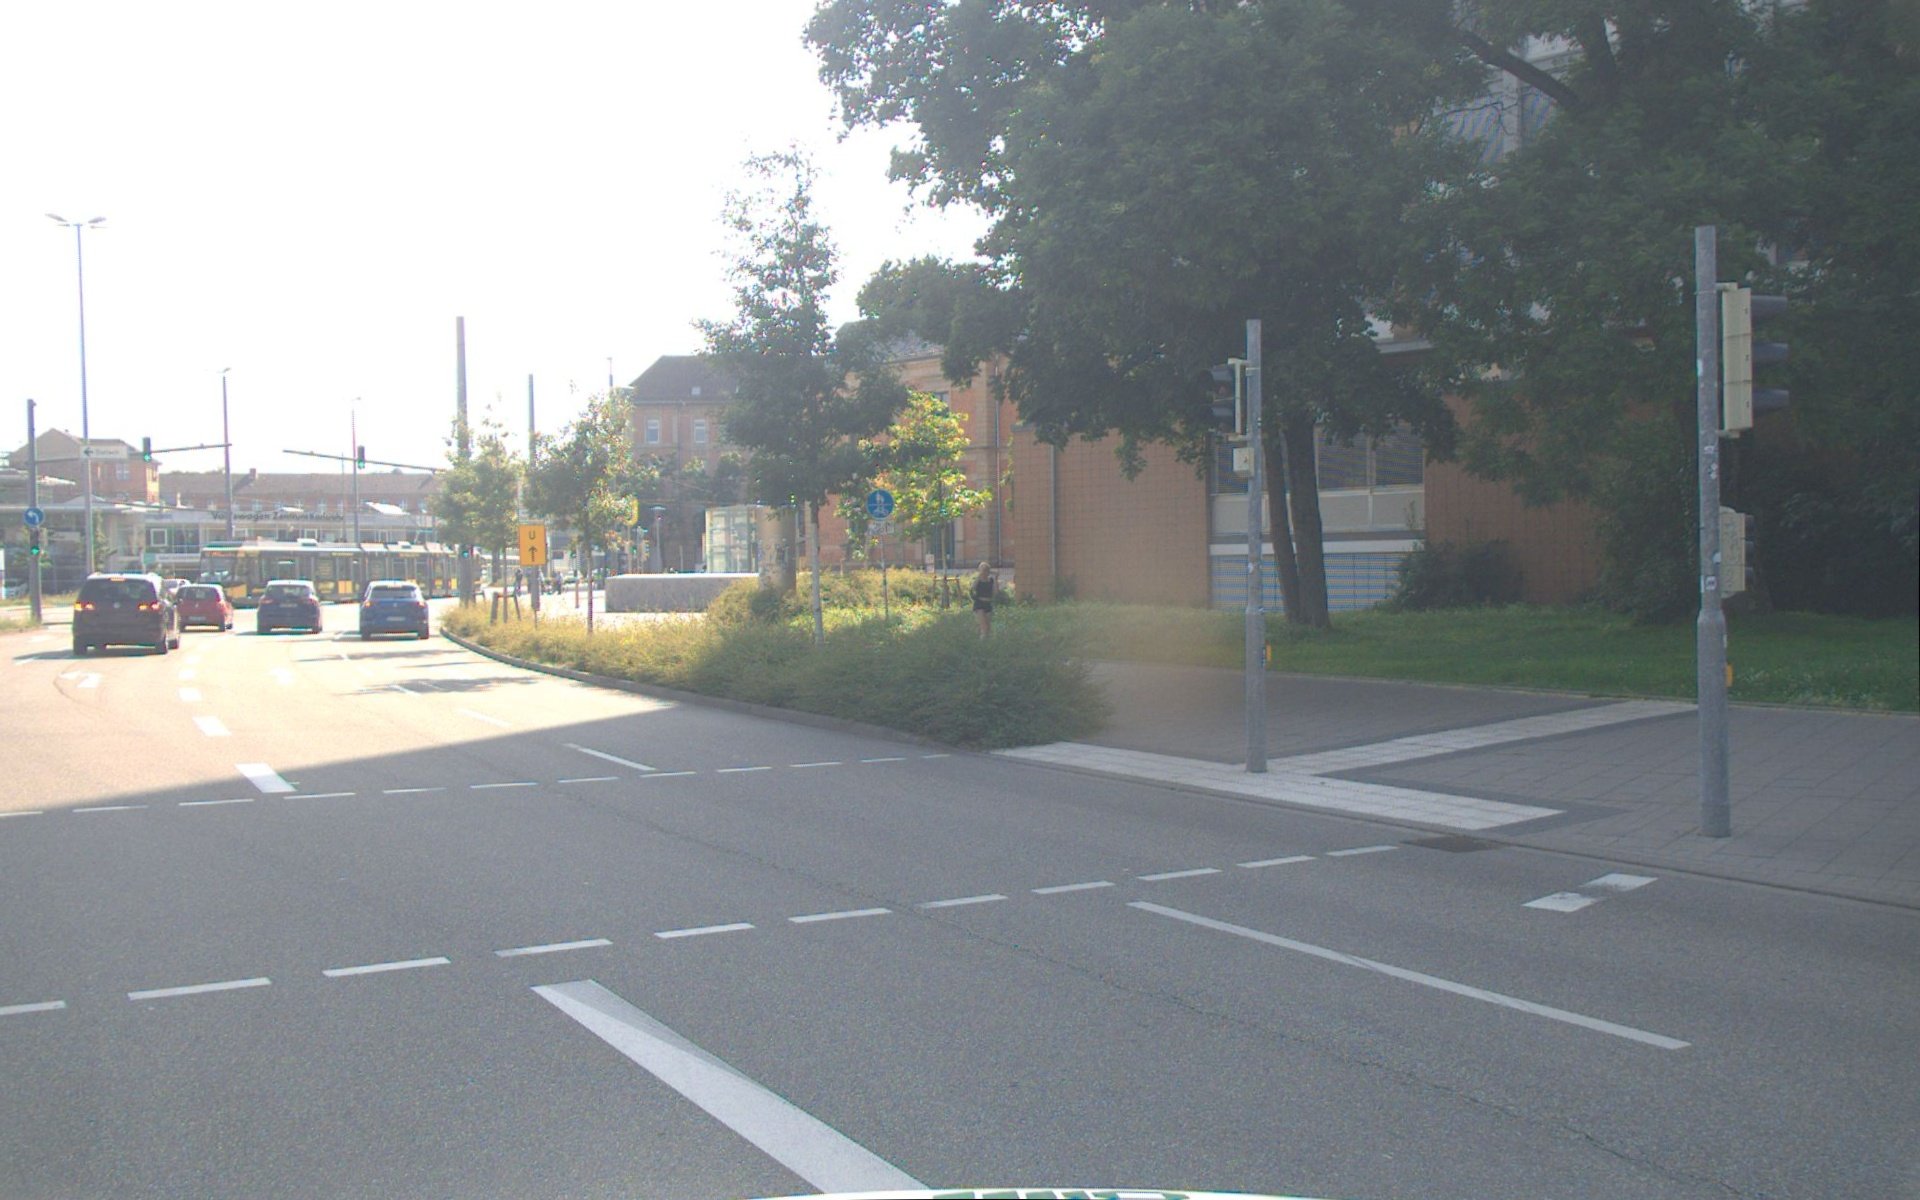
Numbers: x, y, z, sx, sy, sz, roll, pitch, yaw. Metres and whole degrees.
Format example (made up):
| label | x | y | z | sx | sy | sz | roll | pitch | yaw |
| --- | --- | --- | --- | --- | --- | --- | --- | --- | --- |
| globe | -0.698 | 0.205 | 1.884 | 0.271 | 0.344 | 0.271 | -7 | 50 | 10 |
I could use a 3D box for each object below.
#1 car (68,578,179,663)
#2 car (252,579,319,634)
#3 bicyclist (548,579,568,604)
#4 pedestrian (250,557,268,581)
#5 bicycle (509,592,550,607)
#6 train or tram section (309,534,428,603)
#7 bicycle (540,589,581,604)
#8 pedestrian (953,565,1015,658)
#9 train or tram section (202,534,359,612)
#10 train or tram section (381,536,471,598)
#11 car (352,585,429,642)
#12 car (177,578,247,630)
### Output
| label | x | y | z | sx | sy | sz | roll | pitch | yaw |
| --- | --- | --- | --- | --- | --- | --- | --- | --- | --- |
| car | -18.584 | 0.393 | 36.888 | 1.800 | 1.743 | 4.382 | -2 | 1 | -22 |
| car | -20.865 | 0.168 | 51.193 | 1.800 | 1.562 | 4.382 | -2 | 1 | -22 |
| bicyclist | -28.535 | -0.605 | 117.437 | 0.930 | 1.709 | 1.075 | -2 | 1 | -44 |
| pedestrian | -43.700 | -1.930 | 103.111 | 0.762 | 1.529 | 0.710 | -1 | 1 | -1 |
| bicycle | -29.985 | -0.021 | 115.299 | 1.075 | 0.981 | 2.608 | 0 | 1 | 45 |
| train or tram section | -34.275 | -1.851 | 96.365 | 2.651 | 3.763 | 10.593 | -1 | 1 | 2 |
| bicycle | -28.398 | -0.236 | 117.583 | 1.075 | 0.981 | 2.608 | 0 | 1 | 45 |
| pedestrian | 0.387 | 0.180 | 26.909 | 0.715 | 1.468 | 0.851 | -1 | 1 | -24 |
| train or tram section | -35.026 | -1.444 | 85.873 | 2.598 | 3.763 | 10.598 | -1 | 1 | 7 |
| train or tram section | -34.372 | -2.131 | 106.906 | 2.684 | 3.763 | 10.585 | -1 | 1 | -2 |
| car | -16.097 | 0.334 | 46.667 | 1.800 | 1.453 | 4.382 | -2 | 1 | -22 |
| car | -23.888 | 0.096 | 52.934 | 1.800 | 1.562 | 4.382 | -2 | 1 | -22 |
